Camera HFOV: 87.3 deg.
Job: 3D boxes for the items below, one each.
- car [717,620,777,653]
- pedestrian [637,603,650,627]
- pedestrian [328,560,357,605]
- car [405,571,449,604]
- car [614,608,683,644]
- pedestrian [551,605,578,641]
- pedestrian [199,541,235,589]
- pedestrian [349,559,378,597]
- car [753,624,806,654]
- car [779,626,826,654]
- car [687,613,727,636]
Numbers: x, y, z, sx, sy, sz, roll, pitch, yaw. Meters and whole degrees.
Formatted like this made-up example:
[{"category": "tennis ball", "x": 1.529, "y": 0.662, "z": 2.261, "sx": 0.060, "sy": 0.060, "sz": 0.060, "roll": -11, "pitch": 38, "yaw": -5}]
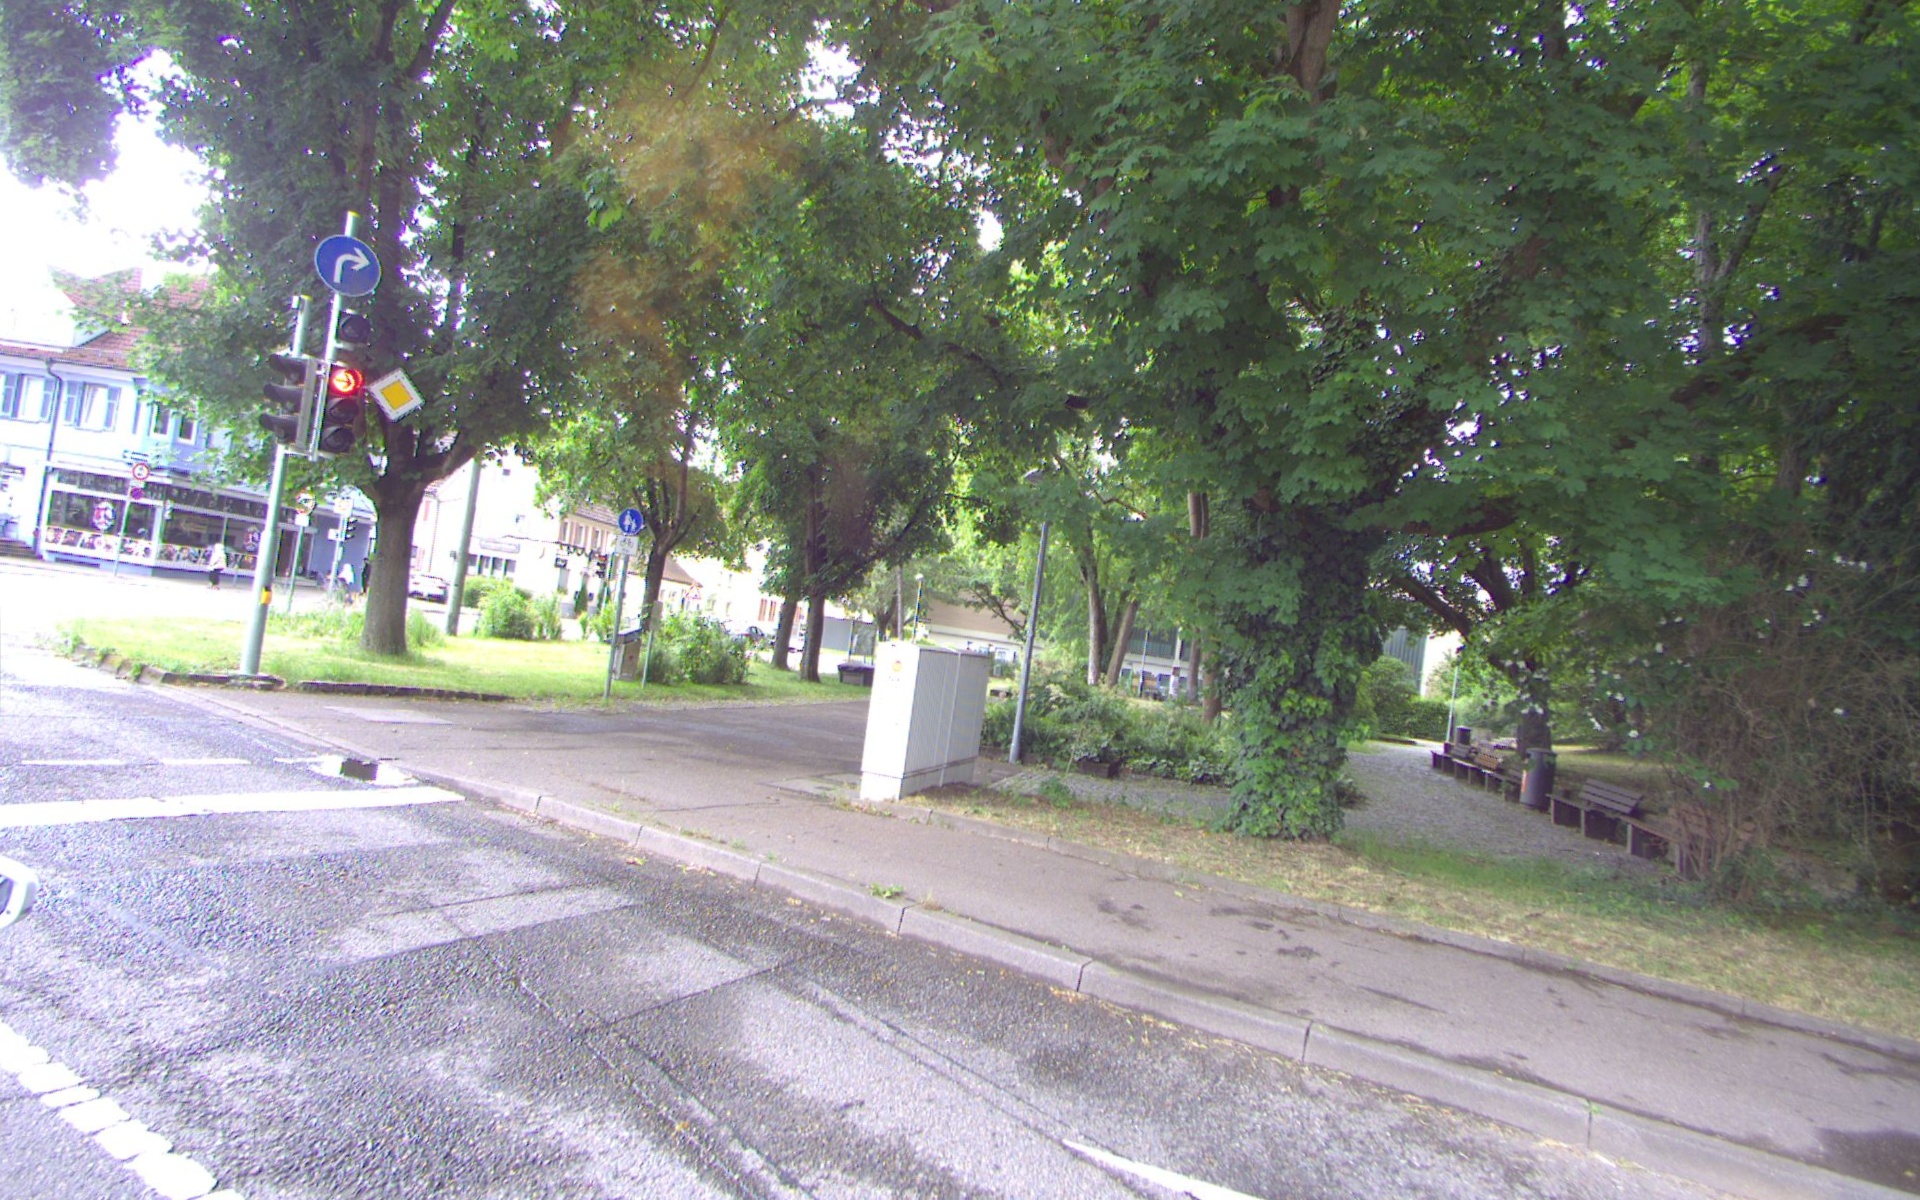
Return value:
[{"category": "car", "x": -11.562, "y": 2.014, "z": 54.932, "sx": 1.618, "sy": 1.474, "sz": 3.740, "roll": 7, "pitch": -2, "yaw": 13}, {"category": "pedestrian", "x": -21.324, "y": 1.007, "z": 67.800, "sx": 0.500, "sy": 1.578, "sz": 0.505, "roll": 6, "pitch": -1, "yaw": 17}, {"category": "pedestrian", "x": -22.792, "y": -0.643, "z": 37.132, "sx": 0.688, "sy": 1.578, "sz": 0.662, "roll": 7, "pitch": -1, "yaw": -27}, {"category": "car", "x": -28.173, "y": -0.692, "z": 53.160, "sx": 1.870, "sy": 1.406, "sz": 3.589, "roll": 9, "pitch": -2, "yaw": -28}, {"category": "car", "x": -13.606, "y": 1.151, "z": 44.047, "sx": 1.436, "sy": 1.282, "sz": 3.014, "roll": 7, "pitch": -2, "yaw": 13}, {"category": "pedestrian", "x": -13.034, "y": 0.760, "z": 33.192, "sx": 0.506, "sy": 1.093, "sz": 0.507, "roll": 6, "pitch": -1, "yaw": 17}, {"category": "pedestrian", "x": -25.873, "y": -1.204, "z": 35.038, "sx": 0.725, "sy": 1.578, "sz": 0.763, "roll": 7, "pitch": -1, "yaw": -27}, {"category": "pedestrian", "x": -26.875, "y": -0.990, "z": 45.339, "sx": 0.732, "sy": 1.578, "sz": 0.673, "roll": 6, "pitch": -1, "yaw": 17}, {"category": "car", "x": -10.699, "y": 2.337, "z": 59.906, "sx": 1.618, "sy": 1.474, "sz": 3.740, "roll": 7, "pitch": -2, "yaw": 13}, {"category": "car", "x": -10.273, "y": 2.654, "z": 66.037, "sx": 1.618, "sy": 1.474, "sz": 3.740, "roll": 7, "pitch": -2, "yaw": 13}, {"category": "car", "x": -18.995, "y": 1.880, "z": 75.576, "sx": 1.736, "sy": 1.463, "sz": 3.865, "roll": 7, "pitch": -2, "yaw": 2}]
